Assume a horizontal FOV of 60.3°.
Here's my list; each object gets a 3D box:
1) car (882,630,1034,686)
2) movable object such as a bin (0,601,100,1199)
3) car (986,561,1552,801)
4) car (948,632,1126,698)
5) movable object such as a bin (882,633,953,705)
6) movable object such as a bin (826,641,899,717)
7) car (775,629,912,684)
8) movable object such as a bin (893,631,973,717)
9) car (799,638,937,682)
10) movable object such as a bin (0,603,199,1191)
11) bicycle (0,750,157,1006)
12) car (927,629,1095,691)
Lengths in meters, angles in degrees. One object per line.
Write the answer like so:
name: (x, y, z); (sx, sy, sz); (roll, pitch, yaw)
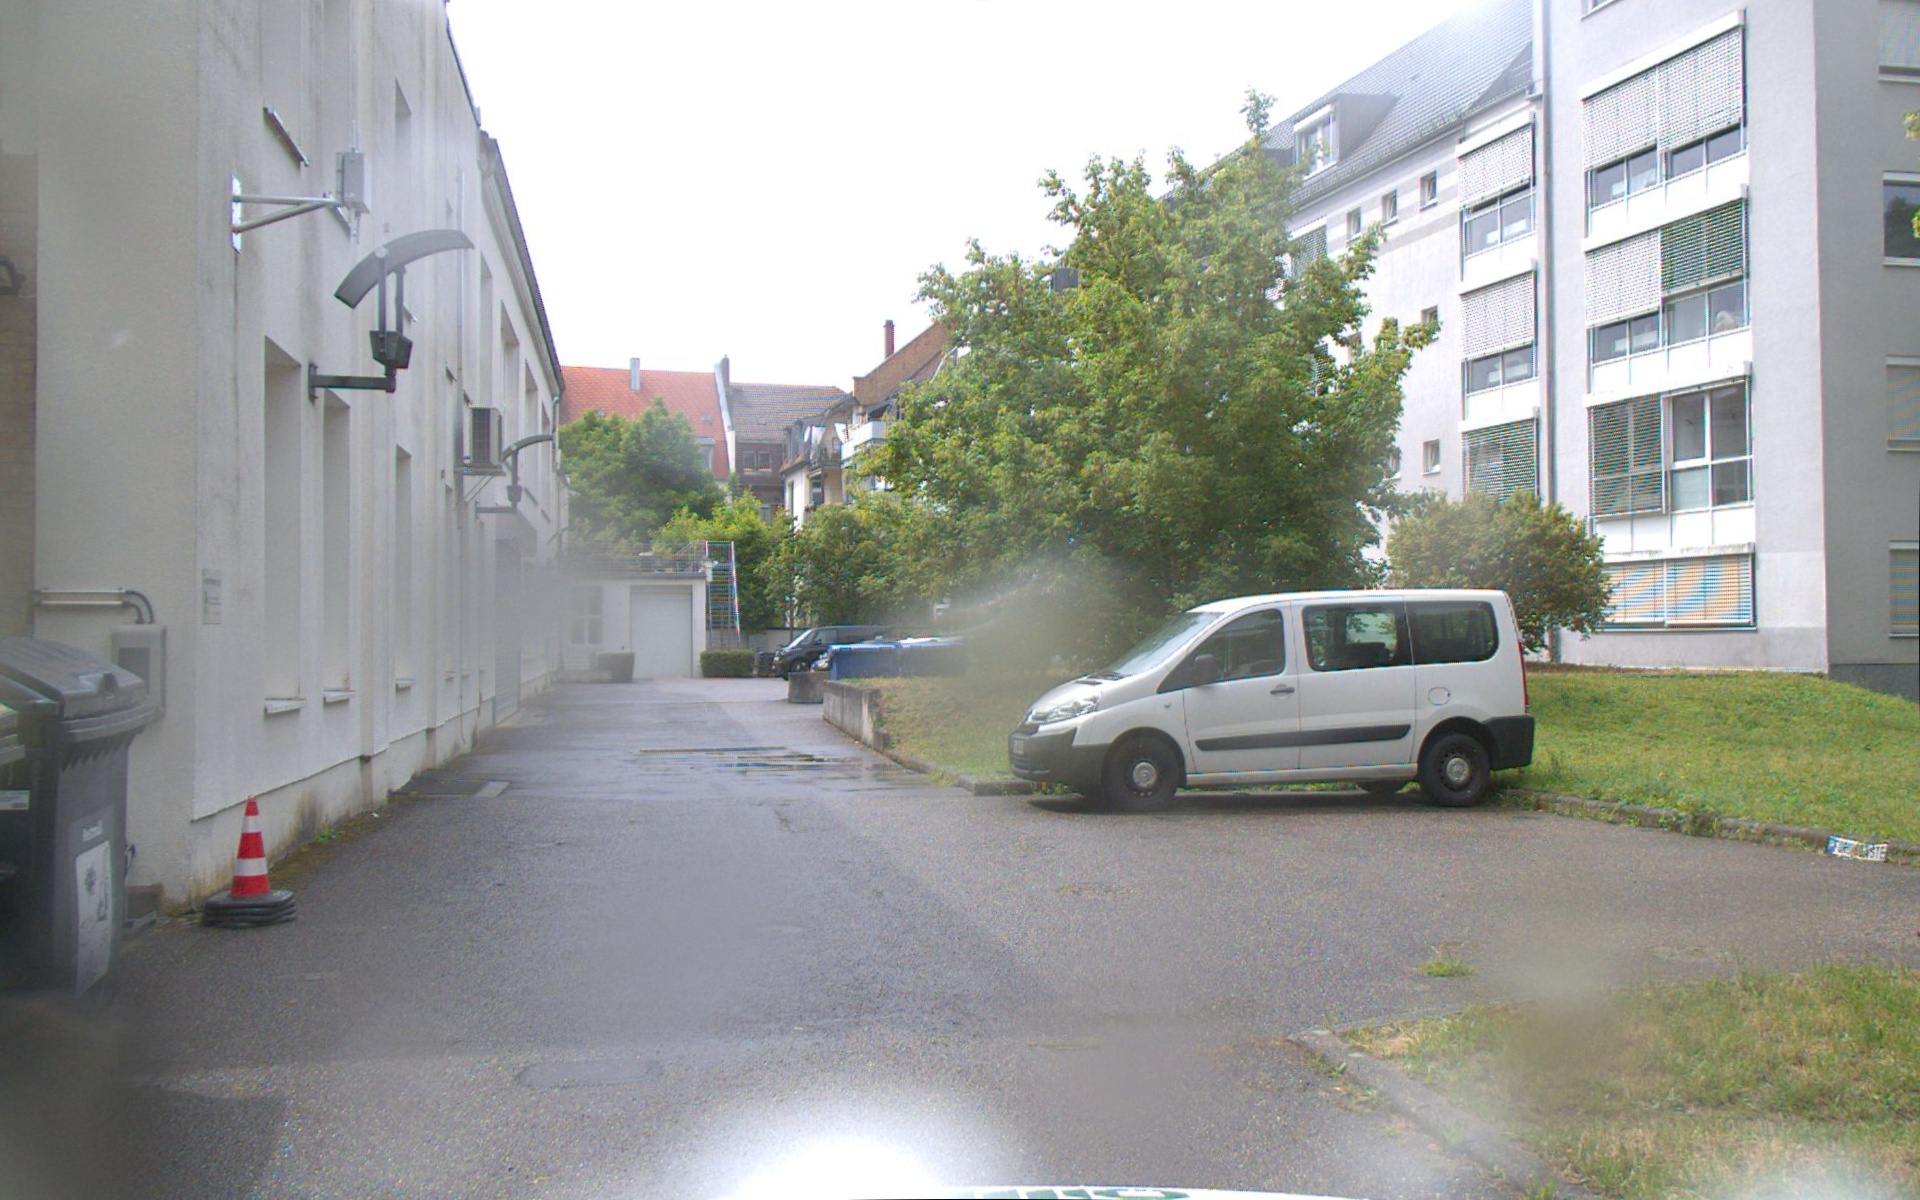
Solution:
car: (-0.075, 1.660, 47.771); (4.031, 1.481, 1.825); (-1, -1, -16)
movable object such as a bin: (-2.633, 0.732, 3.210); (1.335, 1.496, 1.361); (2, -1, -12)
car: (2.789, 0.743, 15.484); (4.845, 2.049, 1.996); (1, -2, -9)
car: (1.813, 1.543, 39.645); (3.918, 1.378, 1.785); (-2, -1, -13)
movable object such as a bin: (-0.837, 1.323, 32.119); (1.208, 1.340, 1.052); (0, -1, -12)
movable object such as a bin: (-1.797, 1.435, 30.253); (1.154, 1.340, 1.052); (2, -1, -12)
car: (-4.290, 2.046, 60.785); (4.637, 1.865, 2.099); (-1, -1, -19)
movable object such as a bin: (-0.506, 1.352, 30.488); (1.252, 1.509, 1.098); (2, -1, -12)
car: (-3.076, 1.991, 55.310); (4.287, 1.372, 1.850); (0, -1, -19)
movable object such as a bin: (-3.118, 0.753, 4.795); (1.335, 1.496, 1.361); (2, -1, -12)
bicycle: (-4.065, 1.152, 7.237); (0.443, 0.813, 2.051); (2, -1, -11)
car: (1.302, 1.539, 42.489); (4.013, 1.483, 1.661); (0, -2, -16)
